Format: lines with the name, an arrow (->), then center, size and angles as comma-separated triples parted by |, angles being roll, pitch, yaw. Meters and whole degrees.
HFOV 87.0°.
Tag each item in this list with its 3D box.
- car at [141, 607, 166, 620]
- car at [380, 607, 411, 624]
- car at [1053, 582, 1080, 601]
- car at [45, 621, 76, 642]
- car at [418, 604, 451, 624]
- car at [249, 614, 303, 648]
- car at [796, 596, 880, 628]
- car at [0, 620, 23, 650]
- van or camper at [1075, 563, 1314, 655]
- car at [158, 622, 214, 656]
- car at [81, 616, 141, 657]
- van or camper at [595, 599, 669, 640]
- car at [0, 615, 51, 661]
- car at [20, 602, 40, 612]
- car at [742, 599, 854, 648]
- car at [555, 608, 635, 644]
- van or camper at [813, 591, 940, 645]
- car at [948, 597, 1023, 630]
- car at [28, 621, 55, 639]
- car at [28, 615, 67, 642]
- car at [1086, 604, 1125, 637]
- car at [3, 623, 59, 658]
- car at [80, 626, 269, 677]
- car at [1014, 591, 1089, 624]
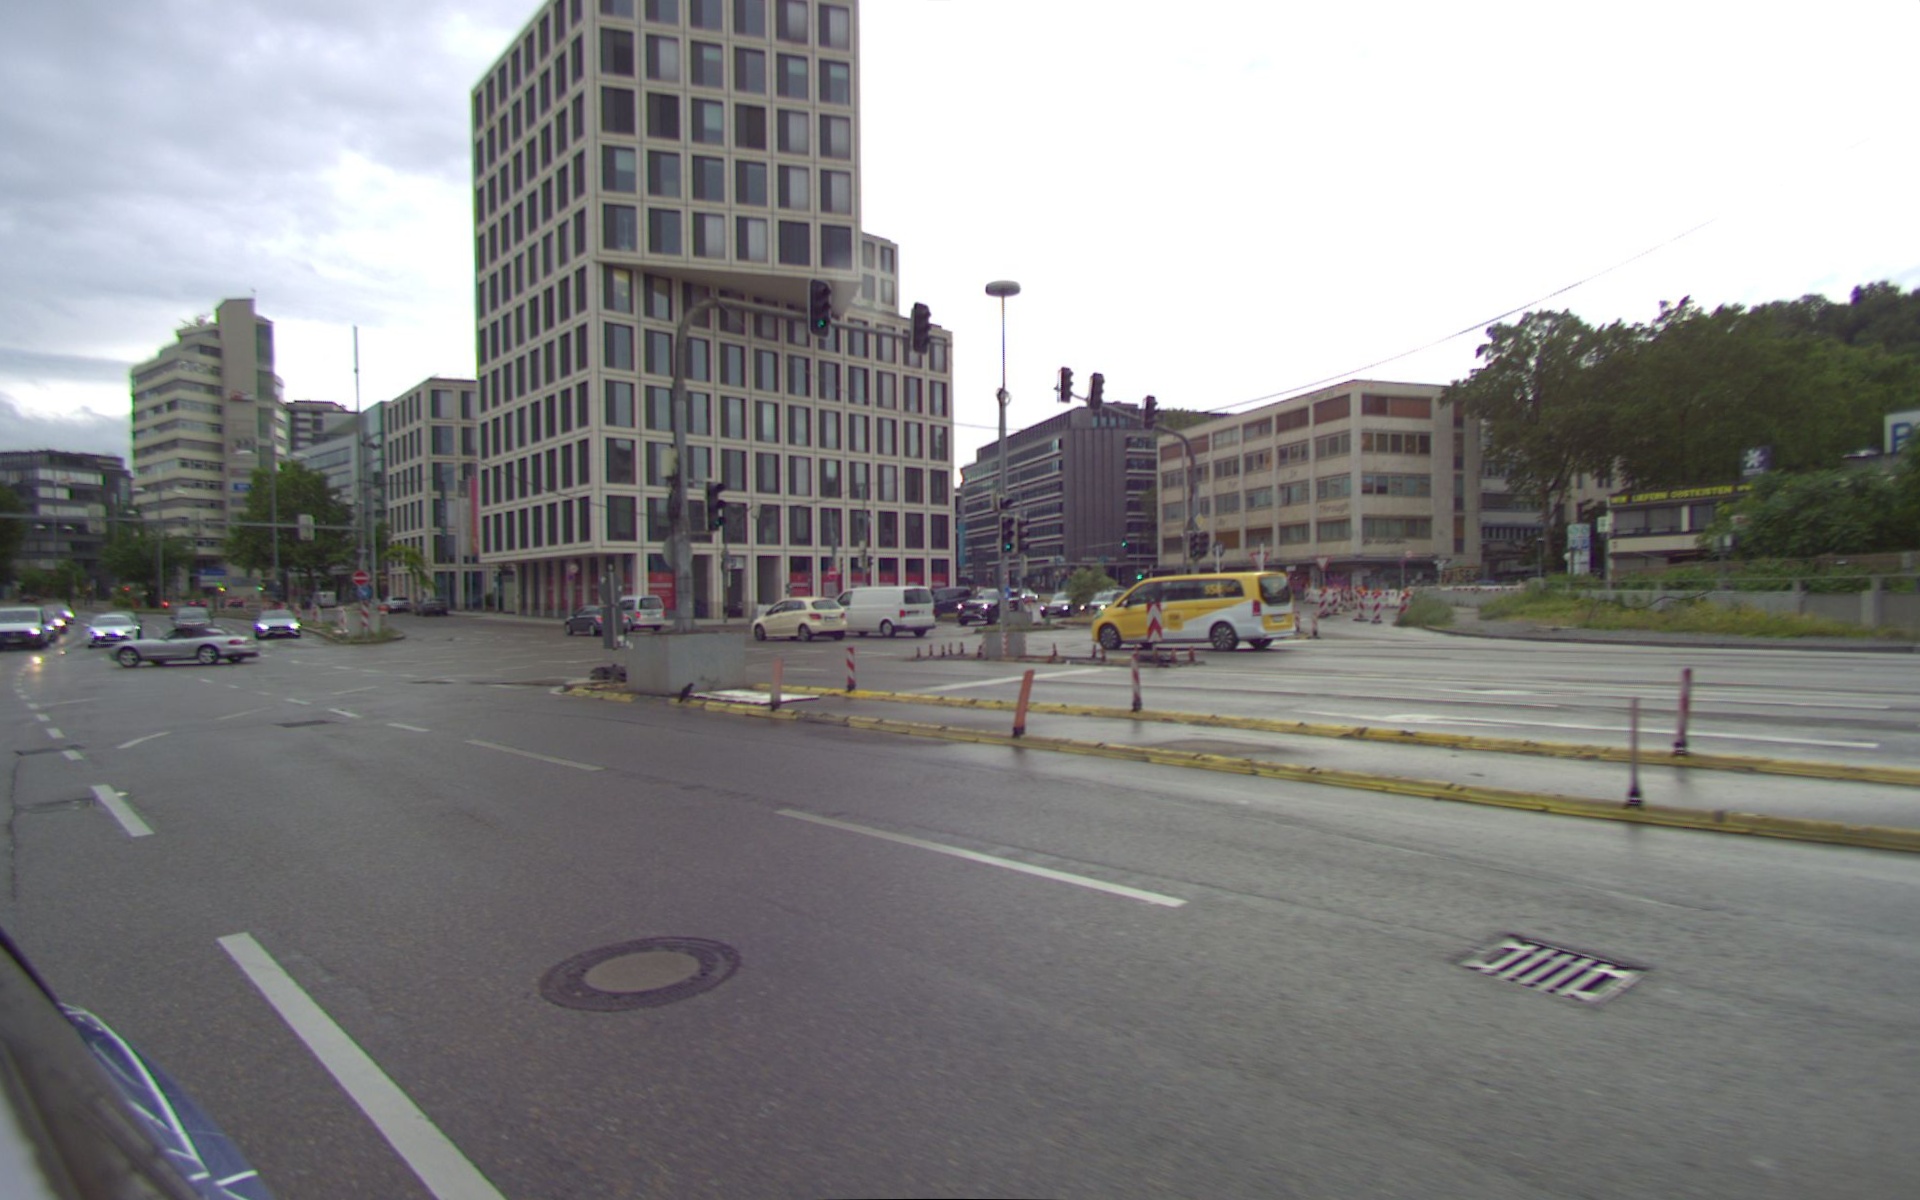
car -> -103.541, 1.771, 129.888 | 4.181, 1.610, 1.825 | -2, 0, 43
car -> -52.910, 1.446, 94.801 | 1.838, 1.534, 4.007 | -1, 0, -39
car -> 12.450, -0.983, 118.810 | 1.967, 2.029, 4.009 | -2, 0, -11
car -> -67.253, 2.341, 75.655 | 1.647, 1.495, 3.489 | -2, 0, -43
car -> -44.787, 1.202, 86.190 | 1.837, 1.534, 4.009 | -1, 0, -37
car -> -34.823, 1.546, 51.465 | 1.985, 1.610, 4.673 | -2, 0, -37
car -> -7.411, 0.715, 61.932 | 2.229, 1.766, 4.745 | -2, 0, 43
car -> -67.312, 2.491, 71.058 | 1.893, 2.029, 4.008 | -2, 0, -38
van or camper -> 5.831, 0.226, 25.825 | 2.213, 2.070, 5.612 | -2, 0, -44
car -> -40.832, 2.022, 53.368 | 1.987, 1.610, 4.669 | -2, 0, -42
car -> -39.488, 1.670, 47.021 | 1.987, 1.751, 4.669 | -2, 0, -42
van or camper -> -17.267, 1.018, 53.142 | 4.256, 1.993, 1.825 | -2, 0, 43
car -> -42.584, 1.697, 45.628 | 2.054, 1.918, 5.094 | -2, 0, -39
car -> -167.242, 1.313, 181.985 | 4.170, 1.610, 1.830 | -2, 0, 34
car -> -6.090, 0.866, 37.738 | 4.381, 1.686, 1.821 | -2, 0, 44
car -> -17.412, 1.227, 48.156 | 4.181, 1.610, 1.825 | -2, 0, 43
van or camper -> -3.301, 0.694, 39.282 | 5.212, 1.908, 1.861 | -2, 0, 43
car -> 1.330, 0.642, 50.920 | 1.832, 1.497, 3.953 | -2, 0, 35
car -> -78.881, 2.560, 86.935 | 1.647, 1.495, 3.489 | -2, 0, -43
car -> -54.798, 1.696, 60.781 | 1.647, 1.495, 3.489 | -2, 0, -43
car -> 7.975, 1.090, 55.307 | 1.680, 1.710, 3.981 | -2, 0, 14
car -> -47.098, 2.015, 51.269 | 1.988, 1.610, 4.667 | -2, 0, -44
car -> -24.359, 1.584, 31.509 | 4.461, 1.319, 1.644 | -2, 0, -5
car -> 5.279, 0.417, 58.549 | 3.931, 1.741, 1.743 | -2, 0, -20
